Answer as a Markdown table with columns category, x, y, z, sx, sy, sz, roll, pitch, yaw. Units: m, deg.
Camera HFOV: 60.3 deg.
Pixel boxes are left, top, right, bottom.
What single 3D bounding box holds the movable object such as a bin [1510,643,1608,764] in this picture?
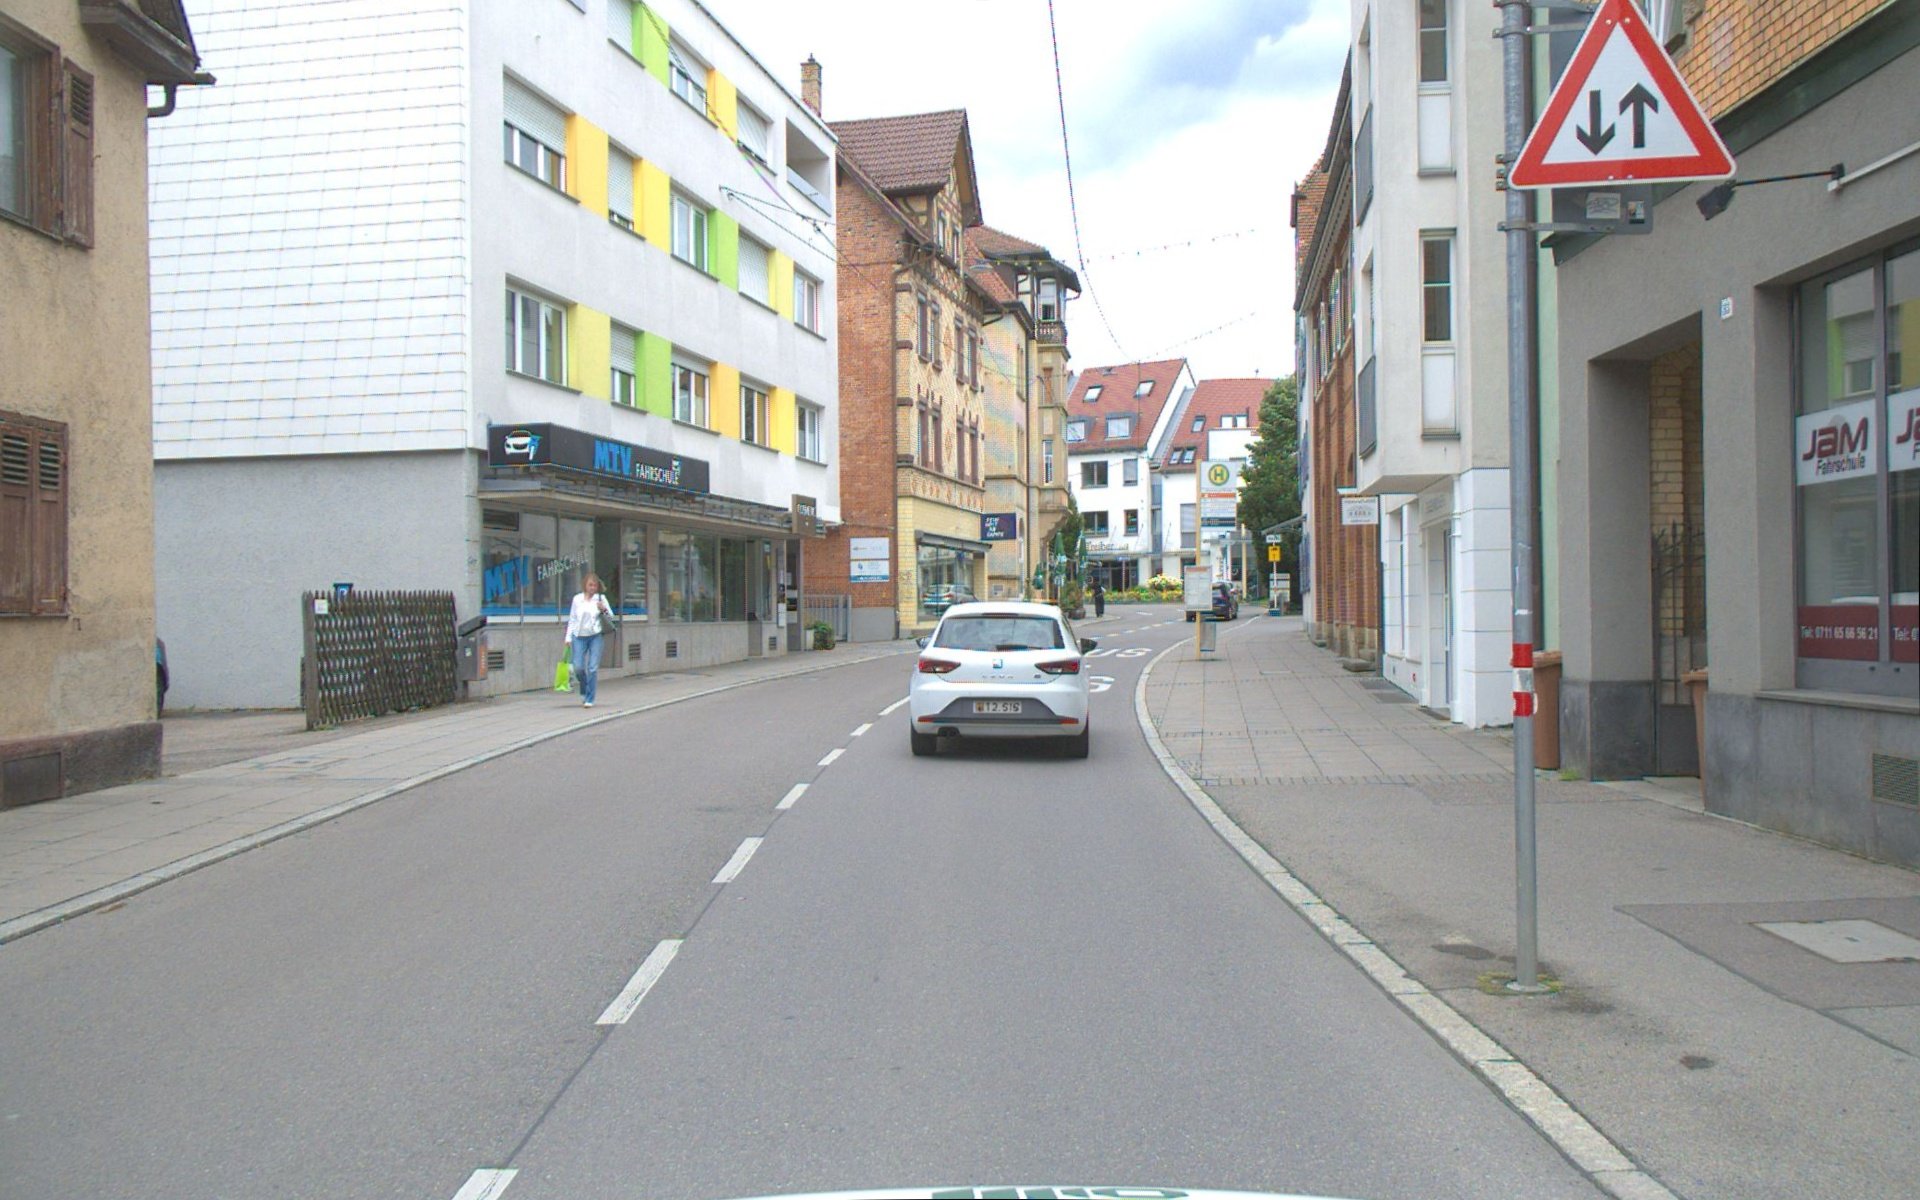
| category | x | y | z | sx | sy | sz | roll | pitch | yaw |
| --- | --- | --- | --- | --- | --- | --- | --- | --- | --- |
| movable object such as a bin | 4.869 | 0.834 | 13.464 | 0.606 | 0.937 | 0.582 | -1 | 0 | 4 |

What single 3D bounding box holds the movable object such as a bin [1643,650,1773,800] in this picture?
| category | x | y | z | sx | sy | sz | roll | pitch | yaw |
| --- | --- | --- | --- | --- | --- | --- | --- | --- | --- |
| movable object such as a bin | 5.072 | 0.837 | 11.248 | 0.567 | 0.950 | 0.740 | -1 | 0 | 3 |

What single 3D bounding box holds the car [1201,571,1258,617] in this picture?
| category | x | y | z | sx | sy | sz | roll | pitch | yaw |
| --- | --- | --- | --- | --- | --- | --- | --- | --- | --- |
| car | 12.600 | -0.283 | 77.239 | 1.952 | 2.049 | 4.002 | -1 | 0 | 19 |

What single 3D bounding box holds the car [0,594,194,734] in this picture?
| category | x | y | z | sx | sy | sz | roll | pitch | yaw |
| --- | --- | --- | --- | --- | --- | --- | --- | --- | --- |
| car | -11.691 | 0.745 | 21.239 | 1.954 | 1.590 | 4.284 | -1 | 0 | -5 |

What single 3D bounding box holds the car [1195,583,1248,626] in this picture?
| category | x | y | z | sx | sy | sz | roll | pitch | yaw |
| --- | --- | --- | --- | --- | --- | --- | --- | --- | --- |
| car | 10.272 | 0.153 | 64.724 | 1.773 | 1.506 | 3.874 | -1 | 1 | 13 |

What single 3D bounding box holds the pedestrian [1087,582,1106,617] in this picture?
| category | x | y | z | sx | sy | sz | roll | pitch | yaw |
| --- | --- | --- | --- | --- | --- | --- | --- | --- | --- |
| pedestrian | 6.212 | -0.037 | 75.216 | 0.816 | 1.579 | 0.628 | -1 | 0 | 6 |

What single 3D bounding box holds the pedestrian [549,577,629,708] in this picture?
| category | x | y | z | sx | sy | sz | roll | pitch | yaw |
| --- | --- | --- | --- | --- | --- | --- | --- | --- | --- |
| pedestrian | -4.935 | 0.547 | 22.066 | 0.874 | 1.694 | 0.861 | -1 | 0 | -3 |

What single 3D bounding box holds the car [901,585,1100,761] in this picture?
| category | x | y | z | sx | sy | sz | roll | pitch | yaw |
| --- | --- | --- | --- | --- | --- | --- | --- | --- | --- |
| car | 0.517 | 0.645 | 16.866 | 1.773 | 1.506 | 3.873 | -1 | 1 | 4 |

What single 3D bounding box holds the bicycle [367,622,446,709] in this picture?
| category | x | y | z | sx | sy | sz | roll | pitch | yaw |
| --- | --- | --- | --- | --- | --- | --- | --- | --- | --- |
| bicycle | -7.354 | 0.848 | 22.023 | 0.316 | 1.072 | 1.750 | -1 | 0 | 5 |
